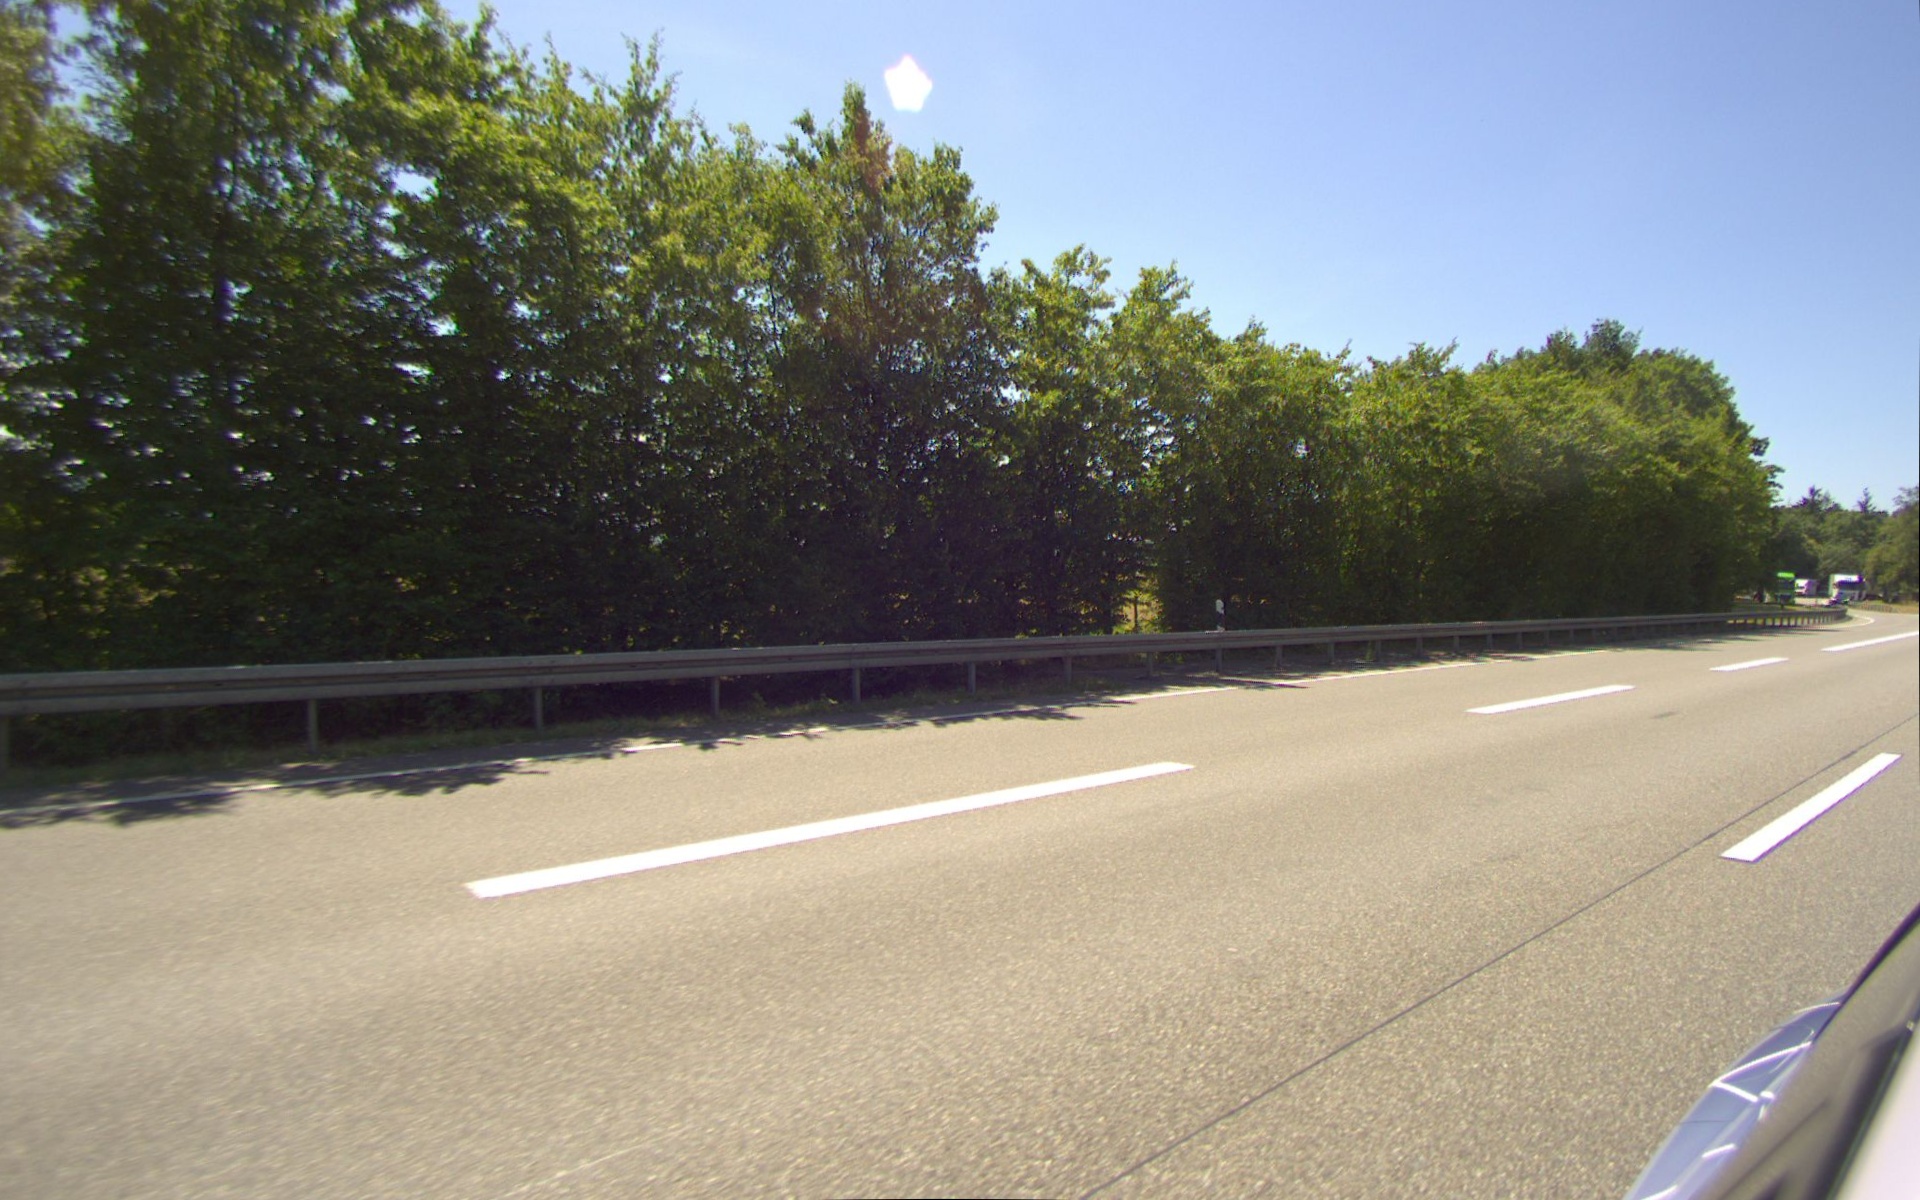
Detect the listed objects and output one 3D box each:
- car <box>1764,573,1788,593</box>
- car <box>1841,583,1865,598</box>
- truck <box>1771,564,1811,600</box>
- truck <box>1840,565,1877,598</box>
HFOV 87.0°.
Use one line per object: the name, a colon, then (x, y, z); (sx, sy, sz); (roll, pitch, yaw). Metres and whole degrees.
car: (114.271, -2.353, 141.770); (2.303, 2.614, 6.558); (4, 3, 38)
car: (117.504, -1.265, 133.165); (4.604, 1.731, 1.995); (-1, 4, -45)
truck: (102.768, -2.202, 125.226); (3.374, 4.312, 6.531); (0, 0, 36)
truck: (124.953, -2.515, 140.786); (3.377, 4.519, 7.287); (0, 0, 38)
